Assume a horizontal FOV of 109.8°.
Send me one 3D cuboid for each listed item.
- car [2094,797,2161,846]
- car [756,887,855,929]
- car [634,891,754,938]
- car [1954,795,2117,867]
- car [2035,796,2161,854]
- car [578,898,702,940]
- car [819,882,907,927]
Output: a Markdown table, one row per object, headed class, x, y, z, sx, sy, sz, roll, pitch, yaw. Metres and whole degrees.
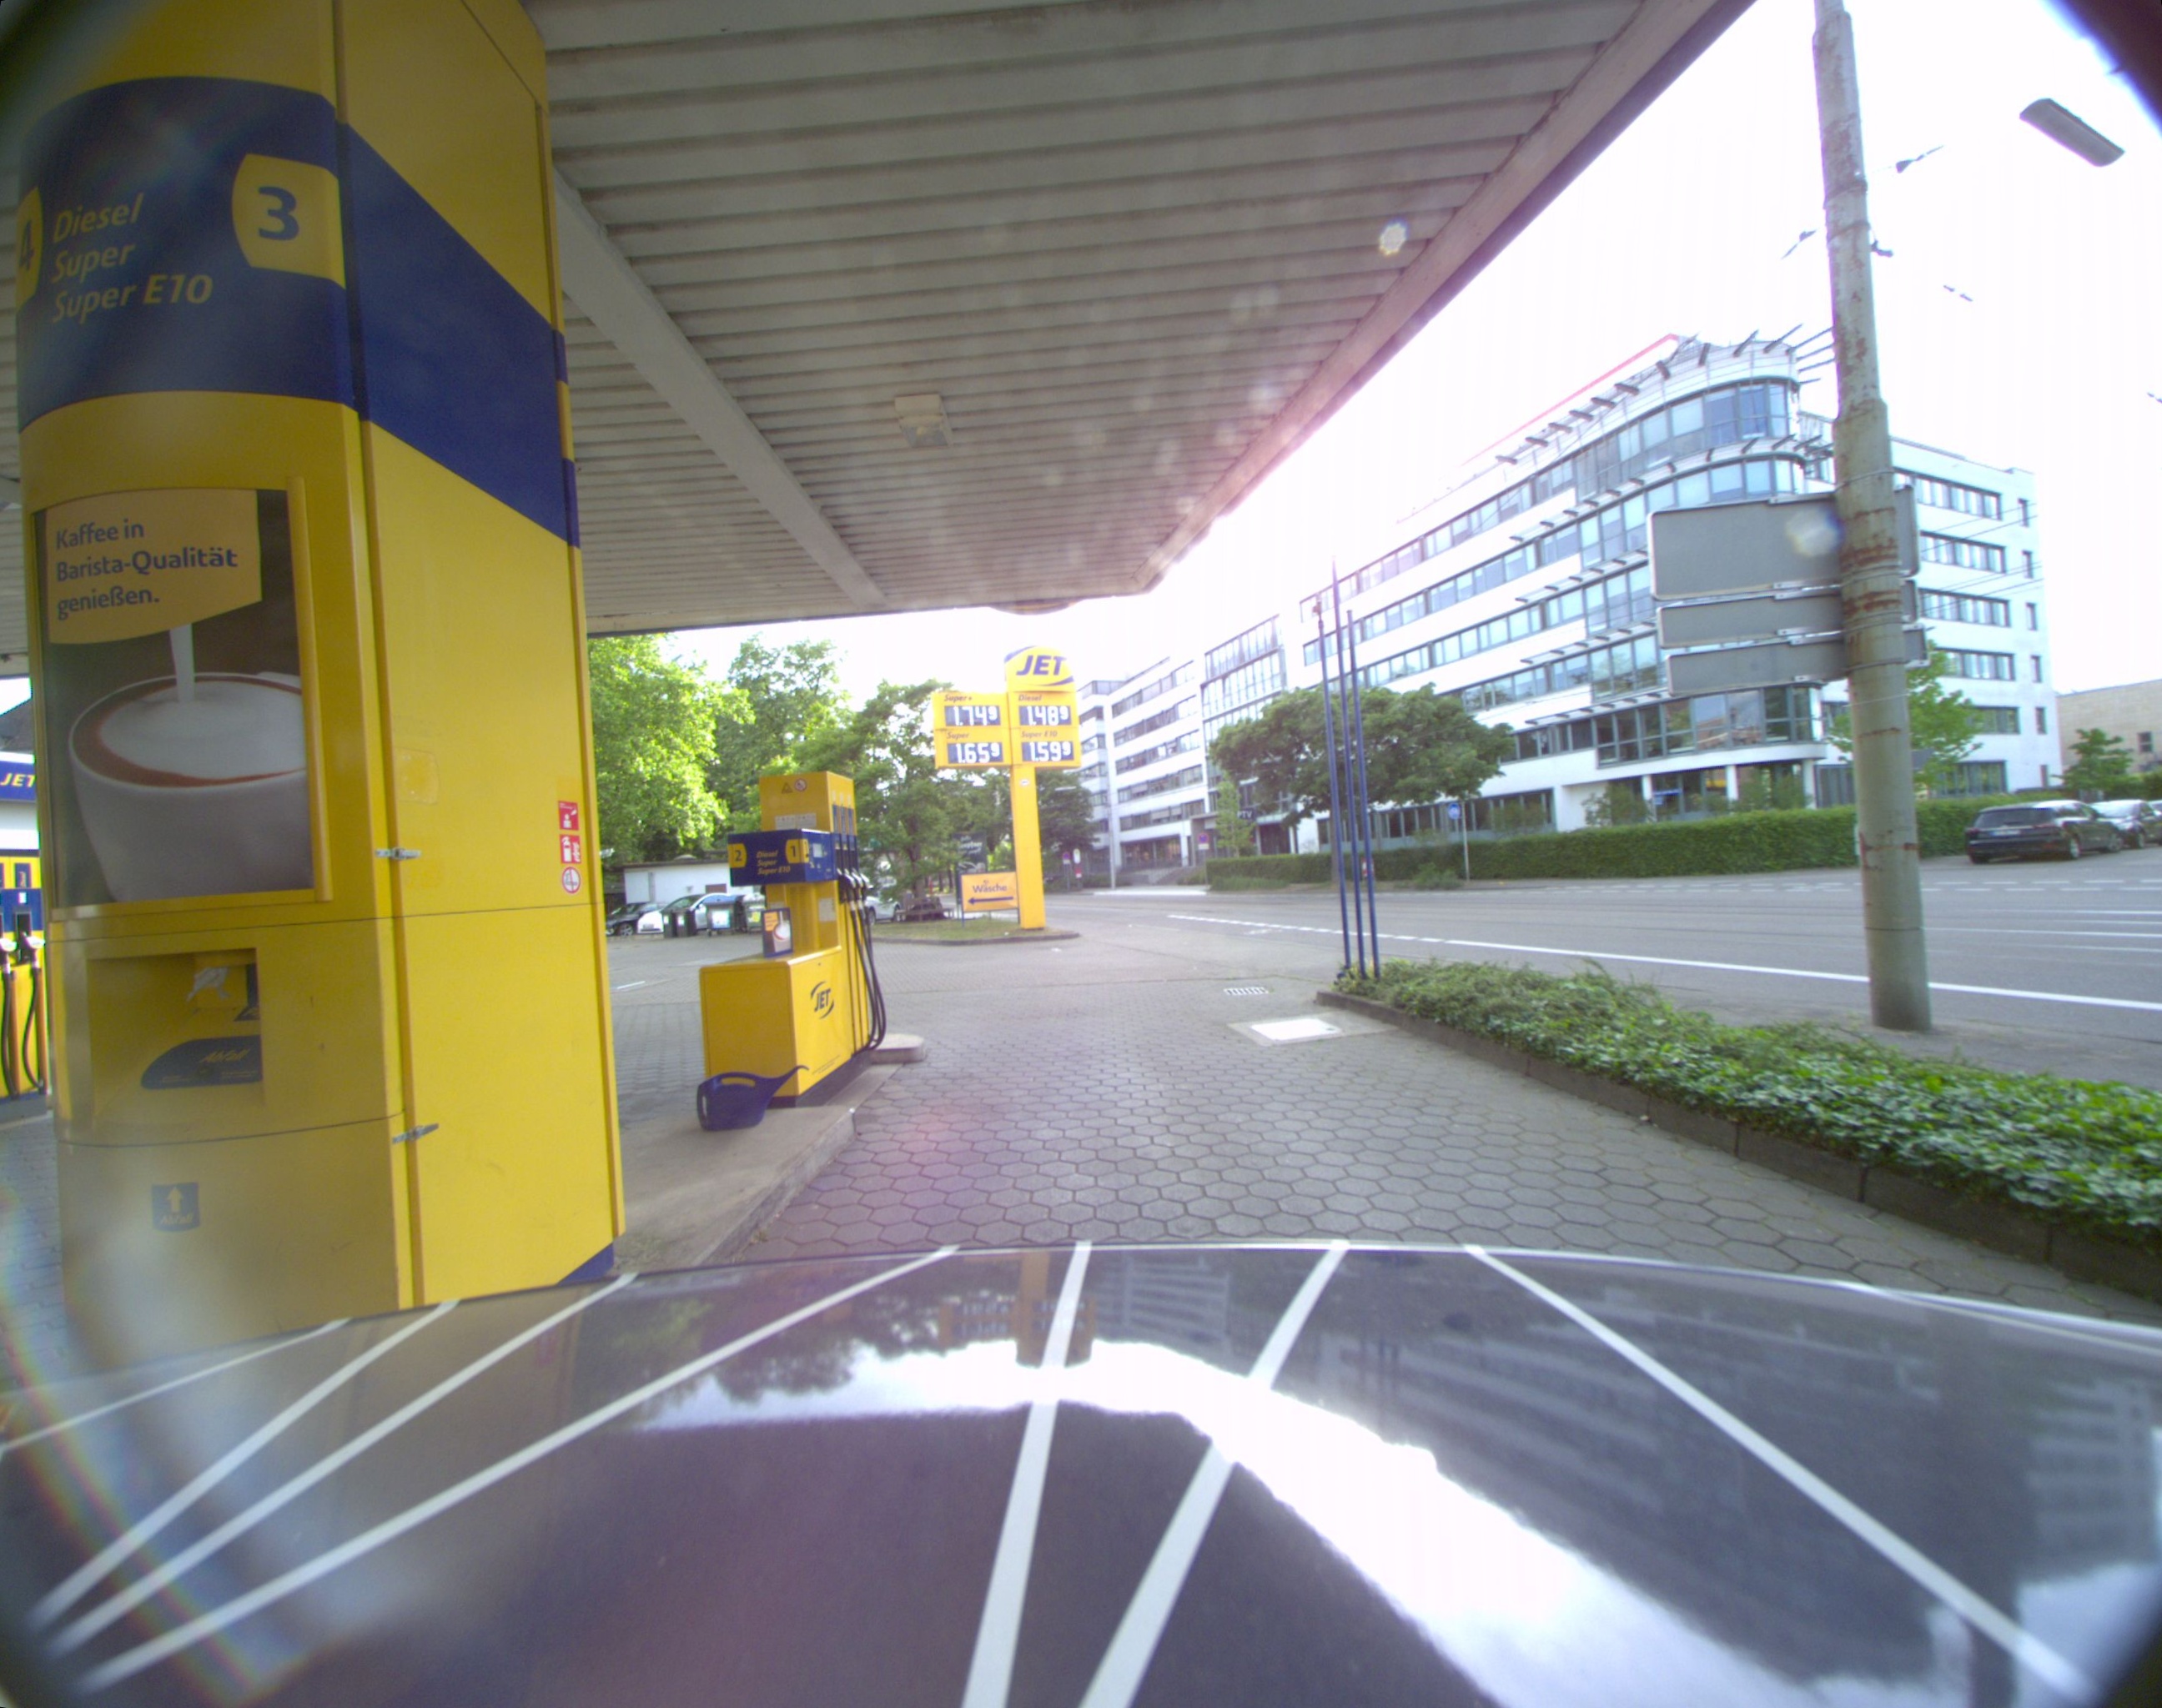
| class | x | y | z | sx | sy | sz | roll | pitch | yaw |
| --- | --- | --- | --- | --- | --- | --- | --- | --- | --- |
| car | 37.123 | -1.200 | 26.149 | 4.296 | 1.509 | 1.945 | -4 | -1 | -27 |
| car | -11.659 | 2.263 | 32.495 | 1.771 | 1.591 | 4.400 | -4 | -4 | 13 |
| car | -15.297 | 2.361 | 30.317 | 1.771 | 1.591 | 4.398 | -2 | -1 | 14 |
| car | 27.270 | -0.667 | 21.694 | 4.296 | 1.681 | 2.010 | -4 | -1 | -27 |
| car | 32.541 | -0.944 | 24.097 | 4.296 | 1.530 | 1.945 | -4 | -1 | -27 |
| car | -17.799 | 2.586 | 30.910 | 1.771 | 1.367 | 4.398 | -2 | -1 | 14 |
| car | -8.641 | 1.998 | 30.505 | 1.772 | 1.591 | 4.398 | -4 | -4 | 6 |
